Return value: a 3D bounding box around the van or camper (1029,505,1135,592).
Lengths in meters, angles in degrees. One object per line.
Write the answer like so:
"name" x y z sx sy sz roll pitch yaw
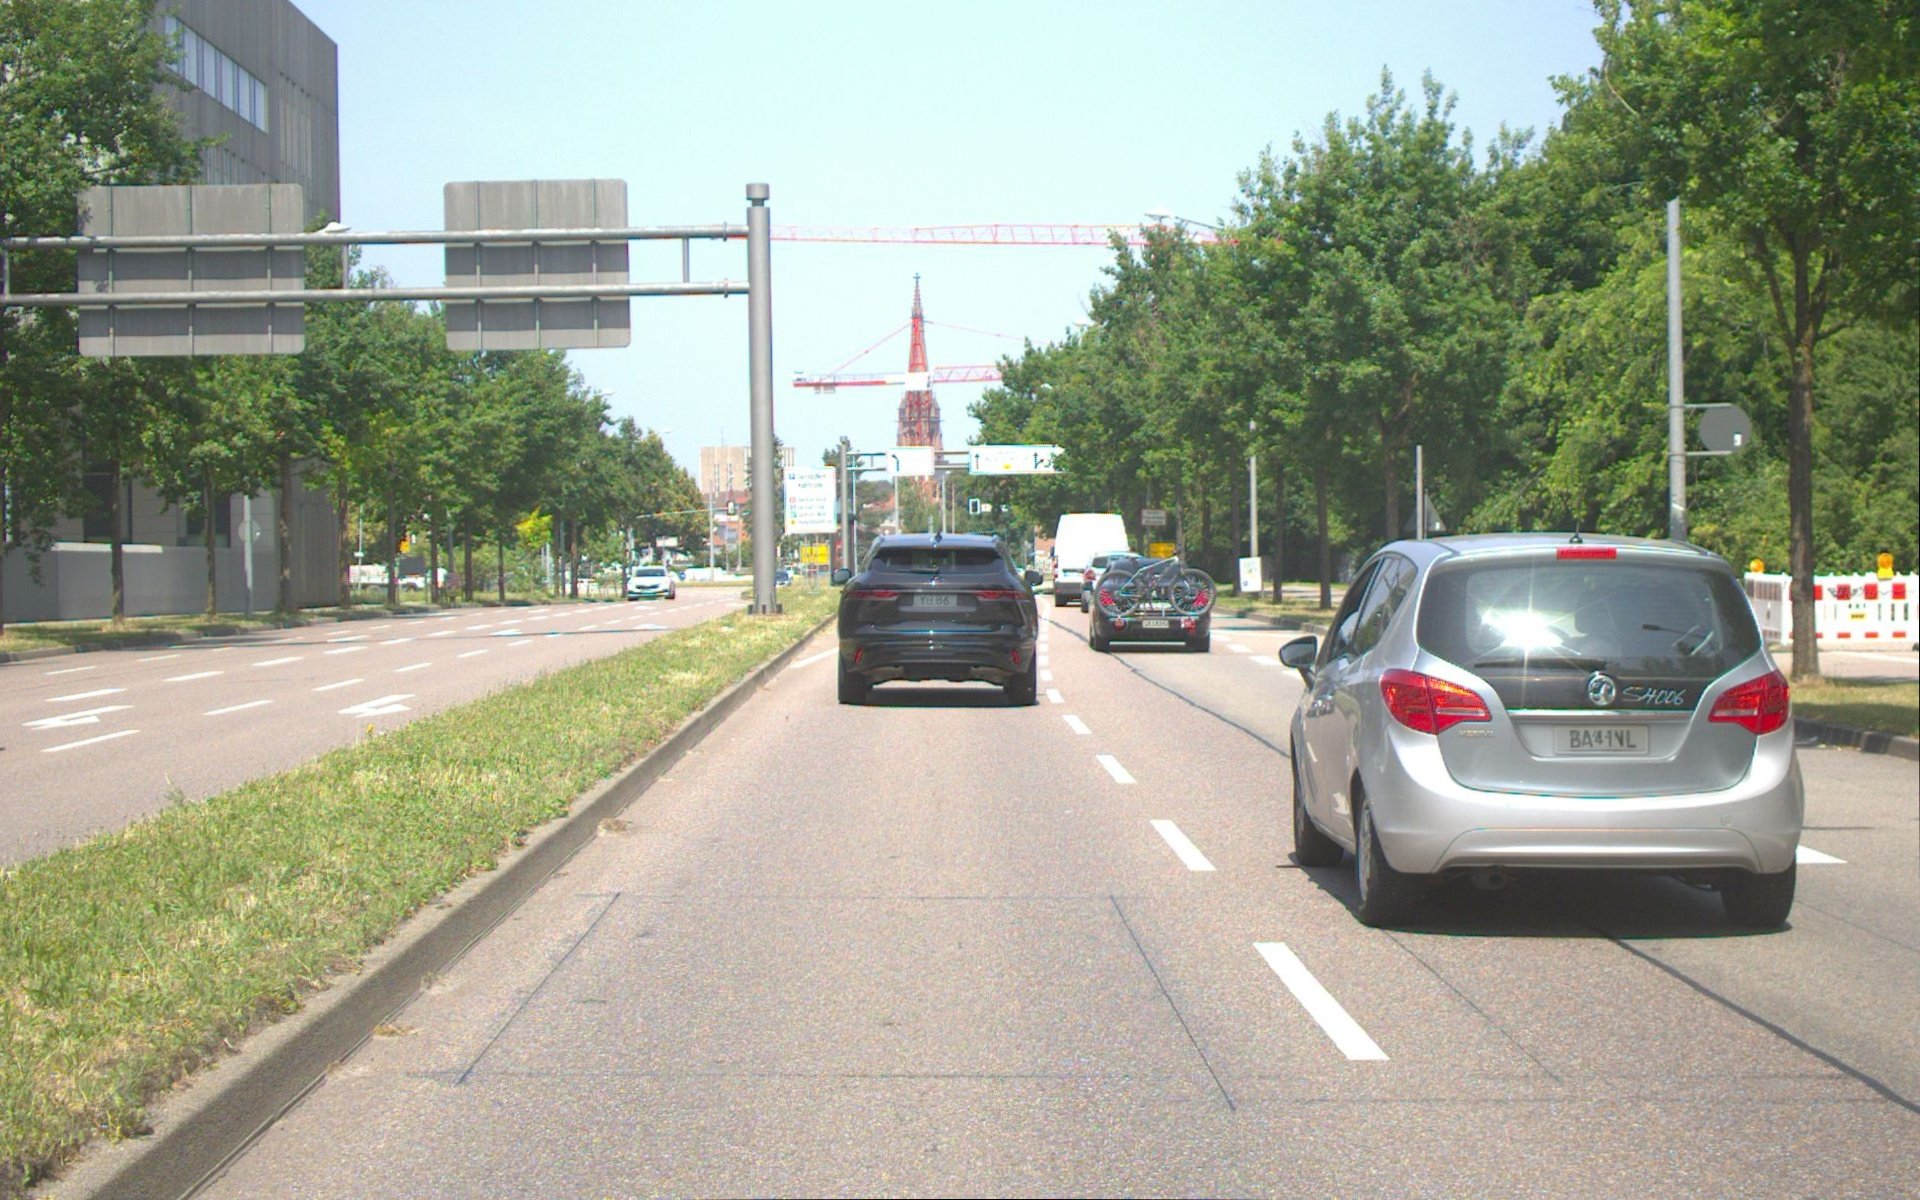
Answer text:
"van or camper" 3.321 -1.397 94.434 2.493 2.283 4.921 -1 0 -2

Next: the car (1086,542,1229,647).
"car" 2.985 -0.101 52.722 2.014 1.512 4.460 -1 0 1

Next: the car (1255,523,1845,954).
"car" 2.404 0.492 14.970 1.792 1.606 3.891 -1 1 -1

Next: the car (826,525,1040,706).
"car" -0.223 0.115 34.199 1.998 1.684 4.033 0 1 1

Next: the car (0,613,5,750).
"car" -8.298 0.227 24.093 1.909 1.986 4.898 -2 1 -2

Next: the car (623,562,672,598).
"car" -13.138 -0.855 144.786 1.810 1.422 4.359 -2 1 -2

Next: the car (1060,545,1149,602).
"car" 3.543 -0.653 84.934 1.654 1.351 4.461 -1 0 -4

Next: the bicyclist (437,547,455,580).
"bicyclist" -23.197 -1.630 155.155 0.623 1.484 0.757 -1 0 3

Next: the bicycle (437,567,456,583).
"bicycle" -23.200 -1.122 155.357 0.481 0.713 1.850 -1 0 3
